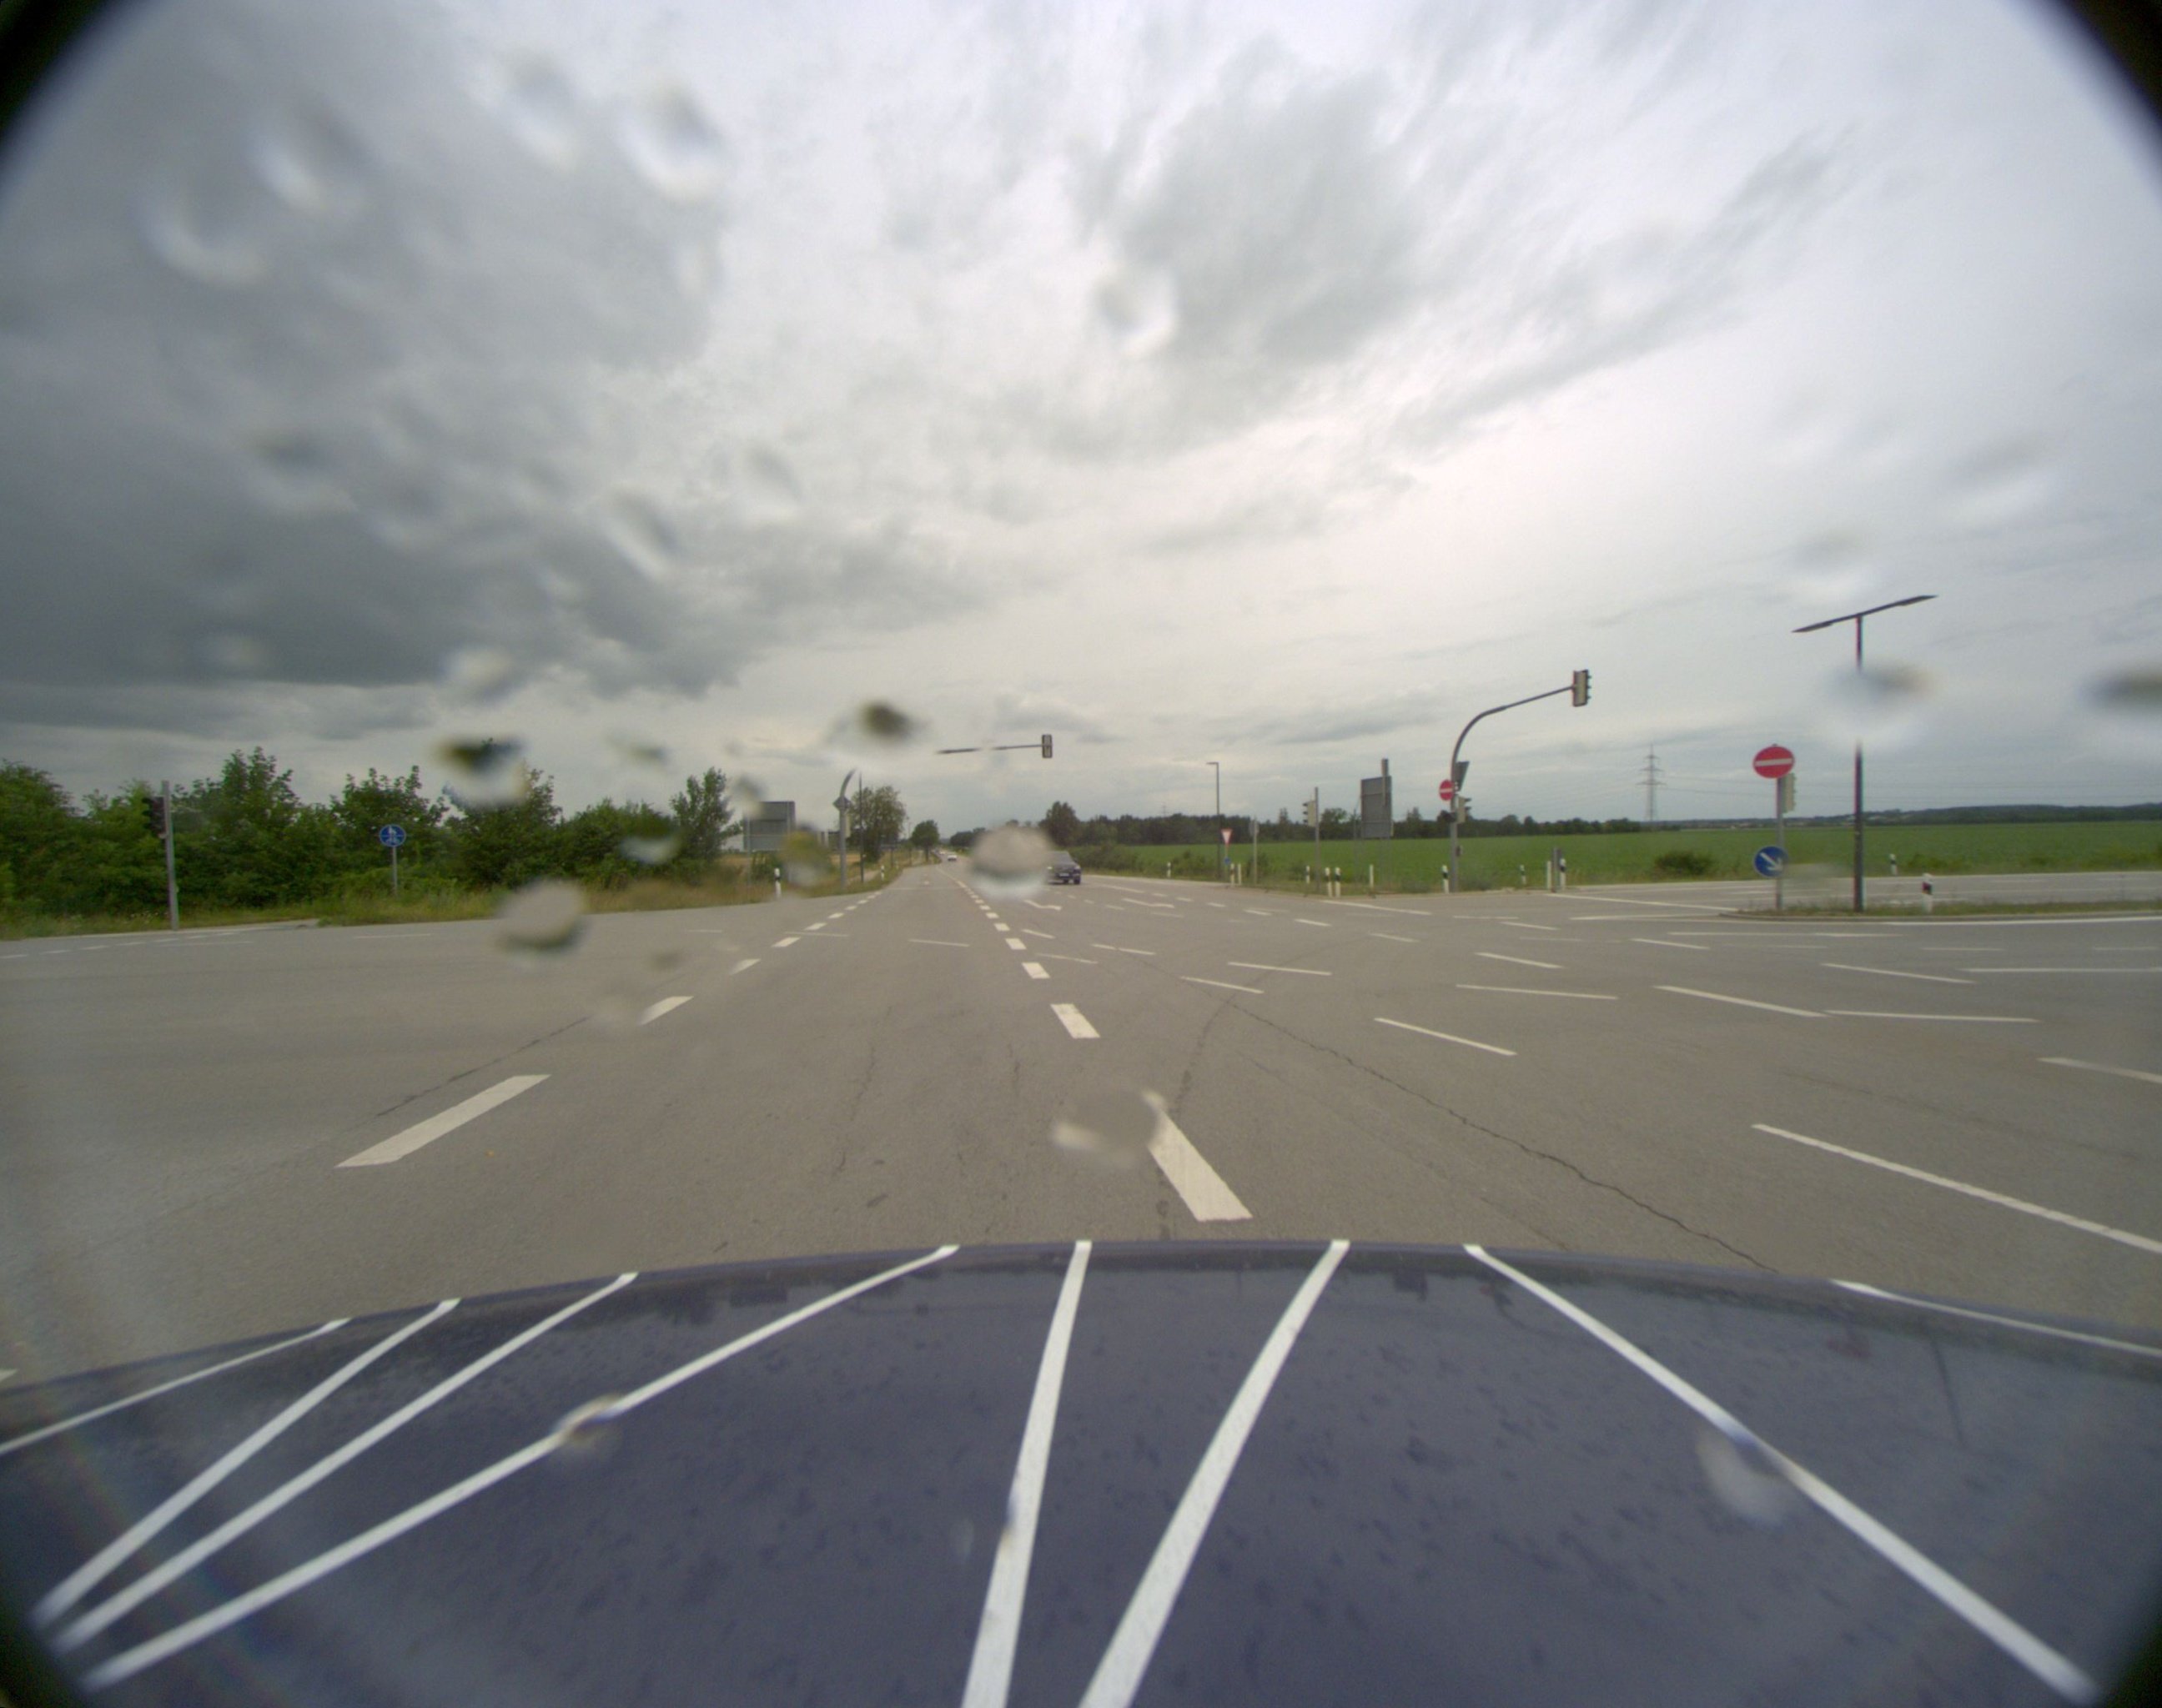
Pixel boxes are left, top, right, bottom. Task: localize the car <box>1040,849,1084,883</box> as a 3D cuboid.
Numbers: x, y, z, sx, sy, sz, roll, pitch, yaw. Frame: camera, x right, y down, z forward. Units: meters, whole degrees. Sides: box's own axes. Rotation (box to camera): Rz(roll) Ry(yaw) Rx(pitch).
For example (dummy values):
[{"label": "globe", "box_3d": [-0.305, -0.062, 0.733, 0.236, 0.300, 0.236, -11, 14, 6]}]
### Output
[{"label": "car", "box_3d": [-1.071, 0.593, 40.371, 1.999, 1.674, 4.996, -1, 1, -5]}]
